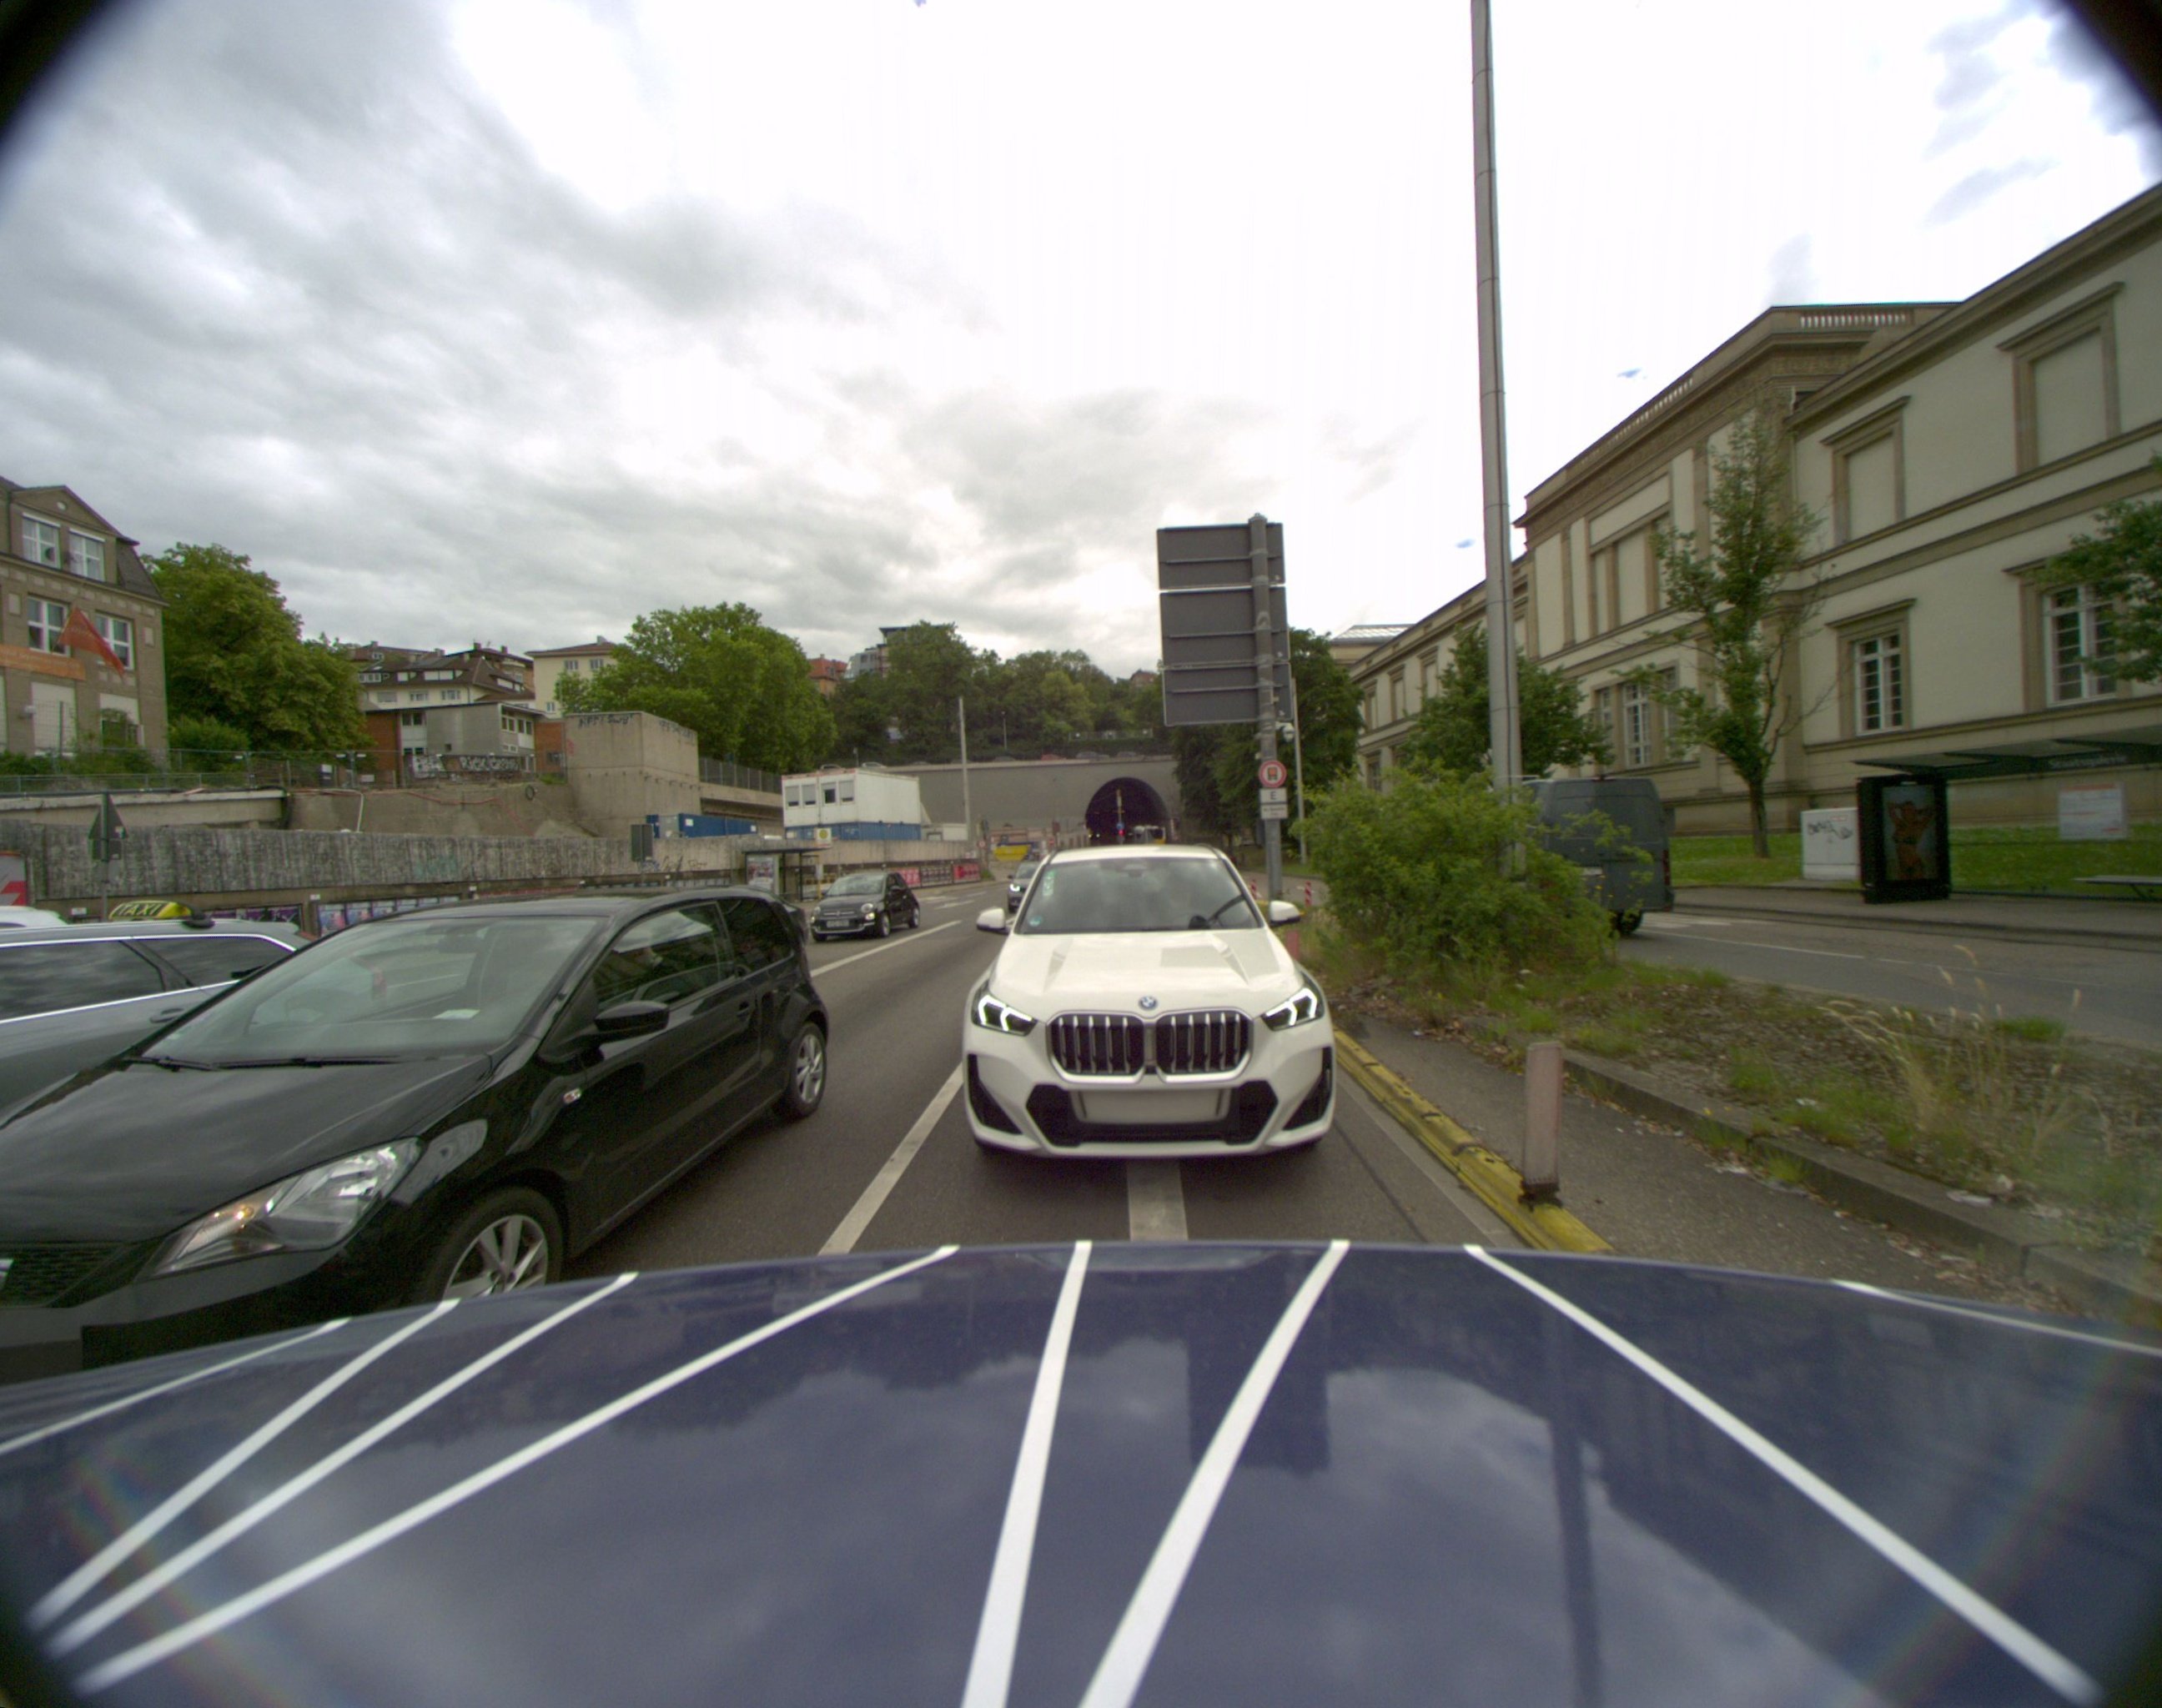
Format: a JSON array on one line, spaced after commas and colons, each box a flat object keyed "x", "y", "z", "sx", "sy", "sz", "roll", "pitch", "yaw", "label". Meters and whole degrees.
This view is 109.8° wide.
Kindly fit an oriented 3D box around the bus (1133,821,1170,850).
[{"x": 8.026, "y": -2.062, "z": 87.845, "sx": 3.171, "sy": 3.129, "sz": 9.118, "roll": -2, "pitch": 1, "yaw": -1, "label": "bus"}]

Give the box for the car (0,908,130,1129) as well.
[{"x": -9.108, "y": 1.330, "z": 4.442, "sx": 1.680, "sy": 1.615, "sz": 4.209, "roll": -2, "pitch": 1, "yaw": 1, "label": "car"}]

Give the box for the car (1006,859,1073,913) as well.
[{"x": -1.262, "y": 0.966, "z": 24.286, "sx": 1.720, "sy": 1.535, "sz": 3.575, "roll": -2, "pitch": 0, "yaw": 3, "label": "car"}]

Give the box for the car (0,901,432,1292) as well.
[{"x": -5.858, "y": 1.218, "z": 3.301, "sx": 1.829, "sy": 1.615, "sz": 4.808, "roll": -2, "pitch": 1, "yaw": 1, "label": "car"}]

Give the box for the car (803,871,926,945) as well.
[{"x": -4.918, "y": 1.180, "z": 17.810, "sx": 1.680, "sy": 1.358, "sz": 3.806, "roll": -2, "pitch": 1, "yaw": 1, "label": "car"}]

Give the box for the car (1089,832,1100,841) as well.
[{"x": 2.406, "y": -3.097, "z": 136.257, "sx": 1.680, "sy": 1.450, "sz": 3.807, "roll": -2, "pitch": 1, "yaw": 3, "label": "car"}]

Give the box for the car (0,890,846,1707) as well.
[{"x": -2.573, "y": 1.028, "z": 3.340, "sx": 1.829, "sy": 1.450, "sz": 3.700, "roll": -2, "pitch": 1, "yaw": 1, "label": "car"}]

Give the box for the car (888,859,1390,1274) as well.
[{"x": 0.261, "y": 0.886, "z": 4.939, "sx": 1.987, "sy": 1.615, "sz": 3.670, "roll": -2, "pitch": 0, "yaw": 1, "label": "car"}]

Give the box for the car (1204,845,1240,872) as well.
[{"x": 9.605, "y": 0.278, "z": 52.030, "sx": 1.946, "sy": 1.714, "sz": 4.001, "roll": -2, "pitch": 1, "yaw": 4, "label": "car"}]

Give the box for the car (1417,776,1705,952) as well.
[{"x": 8.079, "y": 0.136, "z": 13.511, "sx": 2.203, "sy": 2.493, "sz": 4.758, "roll": -2, "pitch": 0, "yaw": 2, "label": "car"}]

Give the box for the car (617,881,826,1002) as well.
[{"x": -5.371, "y": 1.236, "z": 11.822, "sx": 1.665, "sy": 1.423, "sz": 3.155, "roll": -2, "pitch": 1, "yaw": 1, "label": "car"}]
